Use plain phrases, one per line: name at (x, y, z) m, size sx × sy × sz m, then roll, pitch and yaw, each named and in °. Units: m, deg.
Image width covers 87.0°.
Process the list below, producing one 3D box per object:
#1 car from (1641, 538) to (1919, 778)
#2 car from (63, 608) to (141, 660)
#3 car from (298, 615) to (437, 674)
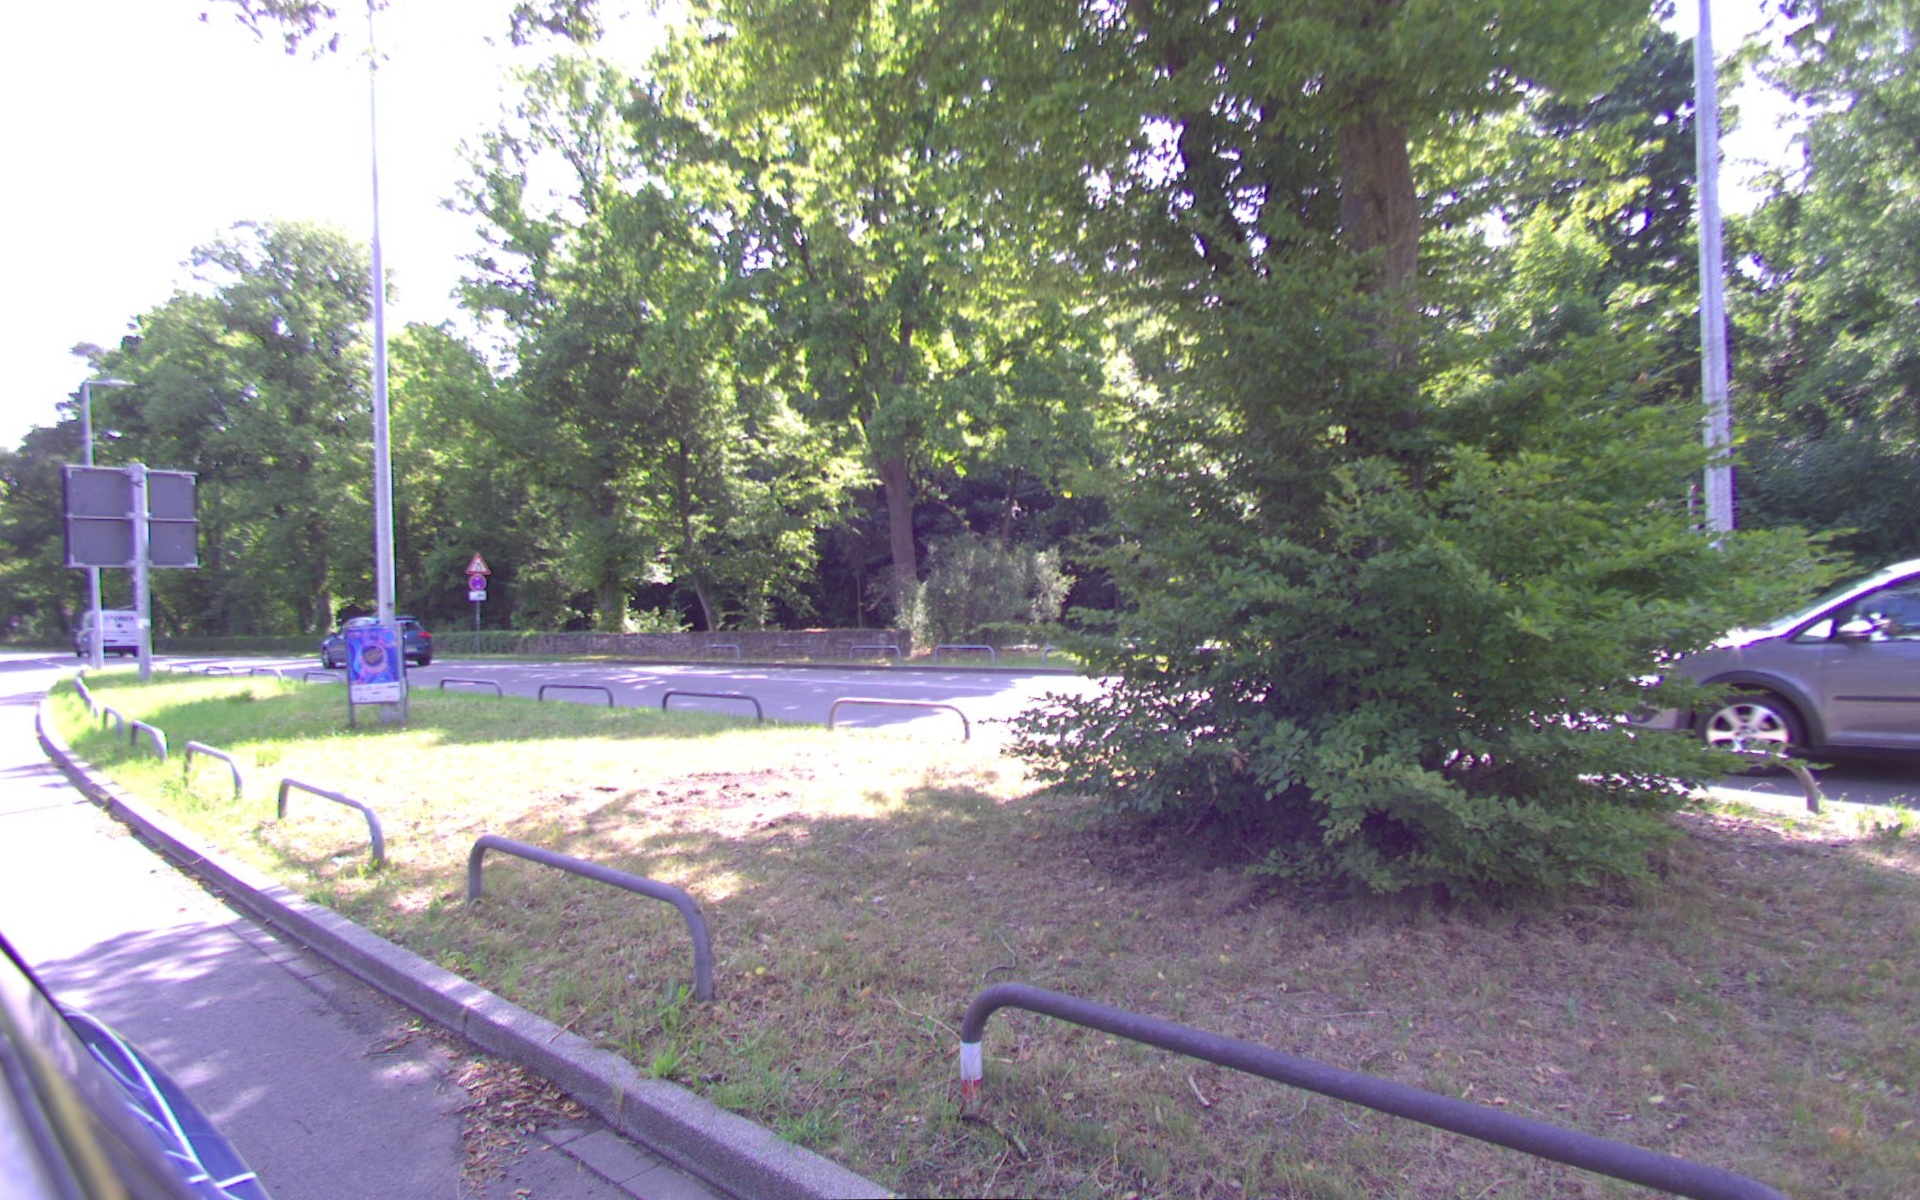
car at (7.543, 0.347, 7.168) m, size 4.297 × 1.642 × 1.743 m, roll -2°, pitch 0°, yaw 41°
car at (-43.841, 1.692, 51.681) m, size 5.356 × 2.449 × 1.956 m, roll -1°, pitch 1°, yaw 38°
car at (-16.660, 1.219, 28.420) m, size 4.053 × 1.457 × 1.682 m, roll -1°, pitch 1°, yaw 32°
